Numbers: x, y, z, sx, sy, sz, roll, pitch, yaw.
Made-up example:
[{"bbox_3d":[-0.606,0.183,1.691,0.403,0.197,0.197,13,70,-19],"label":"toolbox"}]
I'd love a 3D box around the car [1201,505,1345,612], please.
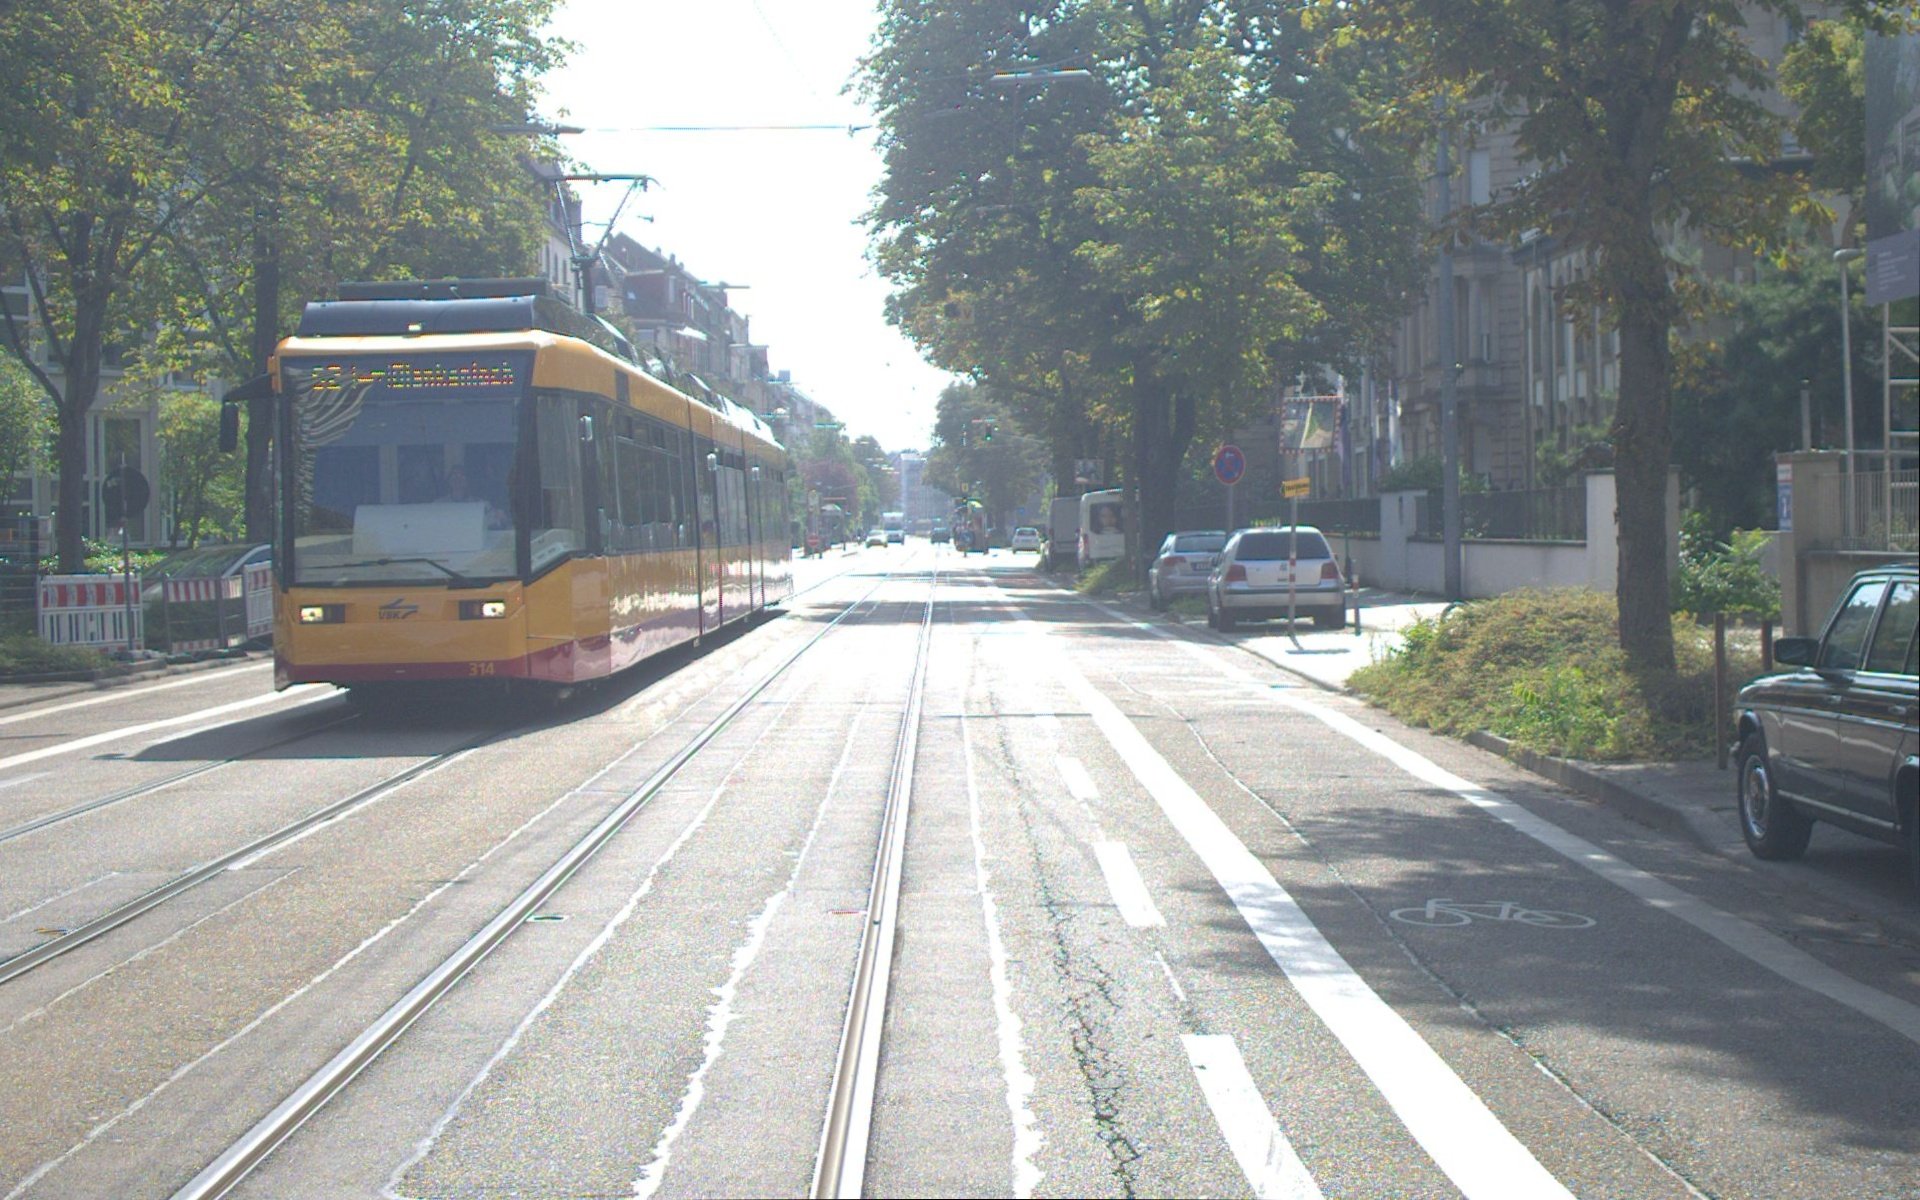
[{"bbox_3d":[4.306,-0.593,47.683,1.689,1.413,3.634,-1,1,1],"label":"car"}]

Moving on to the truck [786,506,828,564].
[{"bbox_3d":[-7.920,-3.381,178.221,1.993,2.965,4.571,-1,1,-1],"label":"truck"}]

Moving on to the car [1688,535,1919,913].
[{"bbox_3d":[4.474,0.429,14.473,1.753,1.373,4.719,-2,1,0],"label":"car"}]

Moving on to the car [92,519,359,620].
[{"bbox_3d":[-11.020,-0.478,51.749,1.569,1.438,3.755,0,1,40],"label":"car"}]

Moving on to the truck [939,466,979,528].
[{"bbox_3d":[-0.047,-5.313,178.171,1.860,3.120,4.353,-1,1,-2],"label":"truck"}]

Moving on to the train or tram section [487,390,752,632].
[{"bbox_3d":[-4.250,-1.118,44.177,2.729,2.839,6.544,-1,1,0],"label":"train or tram section"}]

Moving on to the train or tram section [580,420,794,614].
[{"bbox_3d":[-4.314,-1.331,56.405,2.680,2.852,10.544,-1,1,0],"label":"train or tram section"}]

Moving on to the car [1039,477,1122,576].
[{"bbox_3d":[3.113,-1.918,89.352,2.004,2.482,4.477,-1,1,1],"label":"car"}]

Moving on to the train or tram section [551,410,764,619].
[{"bbox_3d":[-4.280,-1.215,49.290,2.706,2.847,3.649,-1,1,0],"label":"train or tram section"}]

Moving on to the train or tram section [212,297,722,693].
[{"bbox_3d":[-4.177,-0.918,33.144,2.729,2.884,15.456,-1,1,0],"label":"train or tram section"}]

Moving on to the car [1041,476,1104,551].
[{"bbox_3d":[3.774,-2.932,116.325,2.004,2.466,4.477,-1,1,1],"label":"car"}]

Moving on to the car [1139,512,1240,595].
[{"bbox_3d":[4.076,-0.850,61.442,1.595,1.413,3.634,-1,1,1],"label":"car"}]

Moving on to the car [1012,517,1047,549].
[{"bbox_3d":[3.985,-3.880,198.457,1.993,1.831,4.000,-1,1,1],"label":"car"}]
